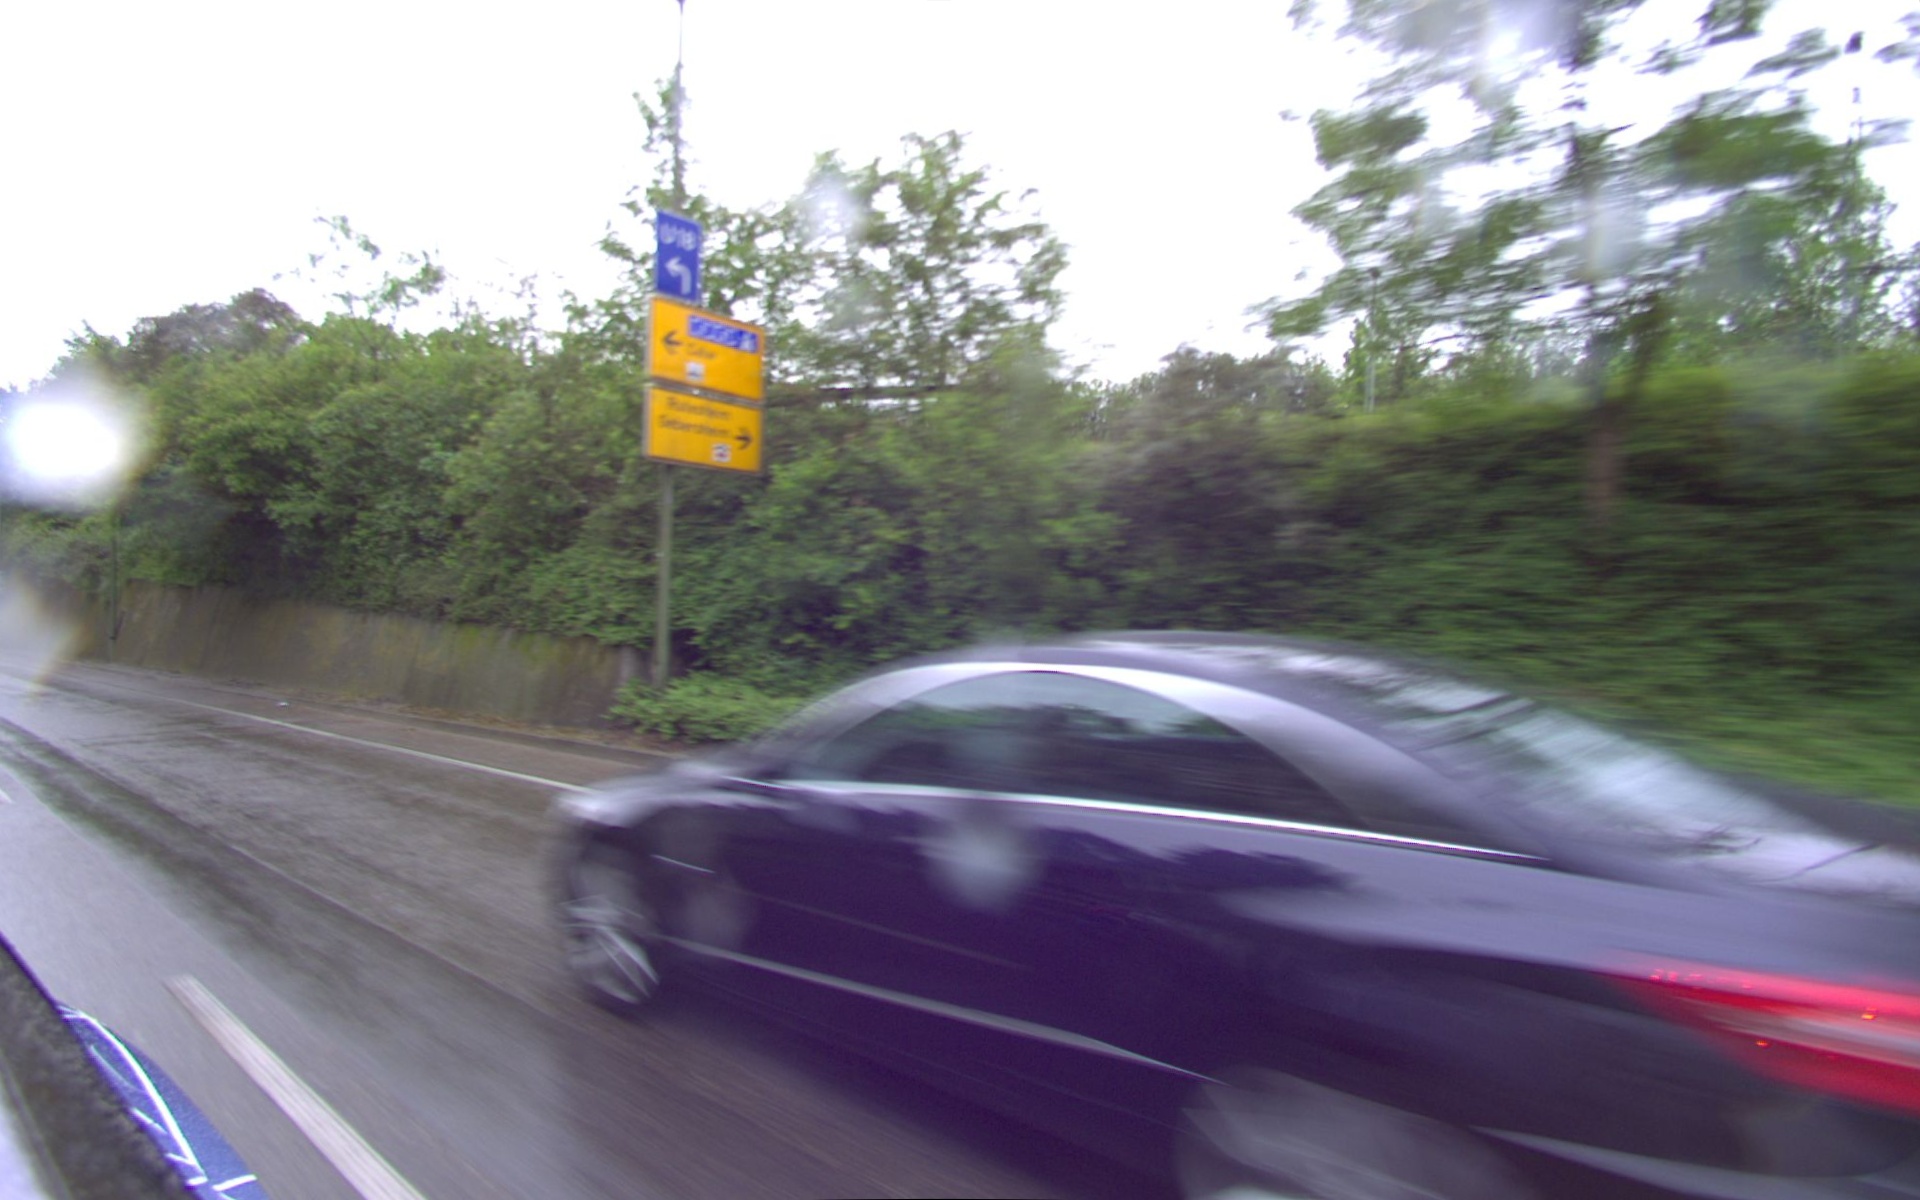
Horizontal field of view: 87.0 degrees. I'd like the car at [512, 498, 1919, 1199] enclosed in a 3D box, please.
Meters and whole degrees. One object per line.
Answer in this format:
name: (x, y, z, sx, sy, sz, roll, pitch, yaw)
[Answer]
car: (0.537, 0.637, 3.215, 4.373, 1.460, 1.846, -1, -2, 40)
